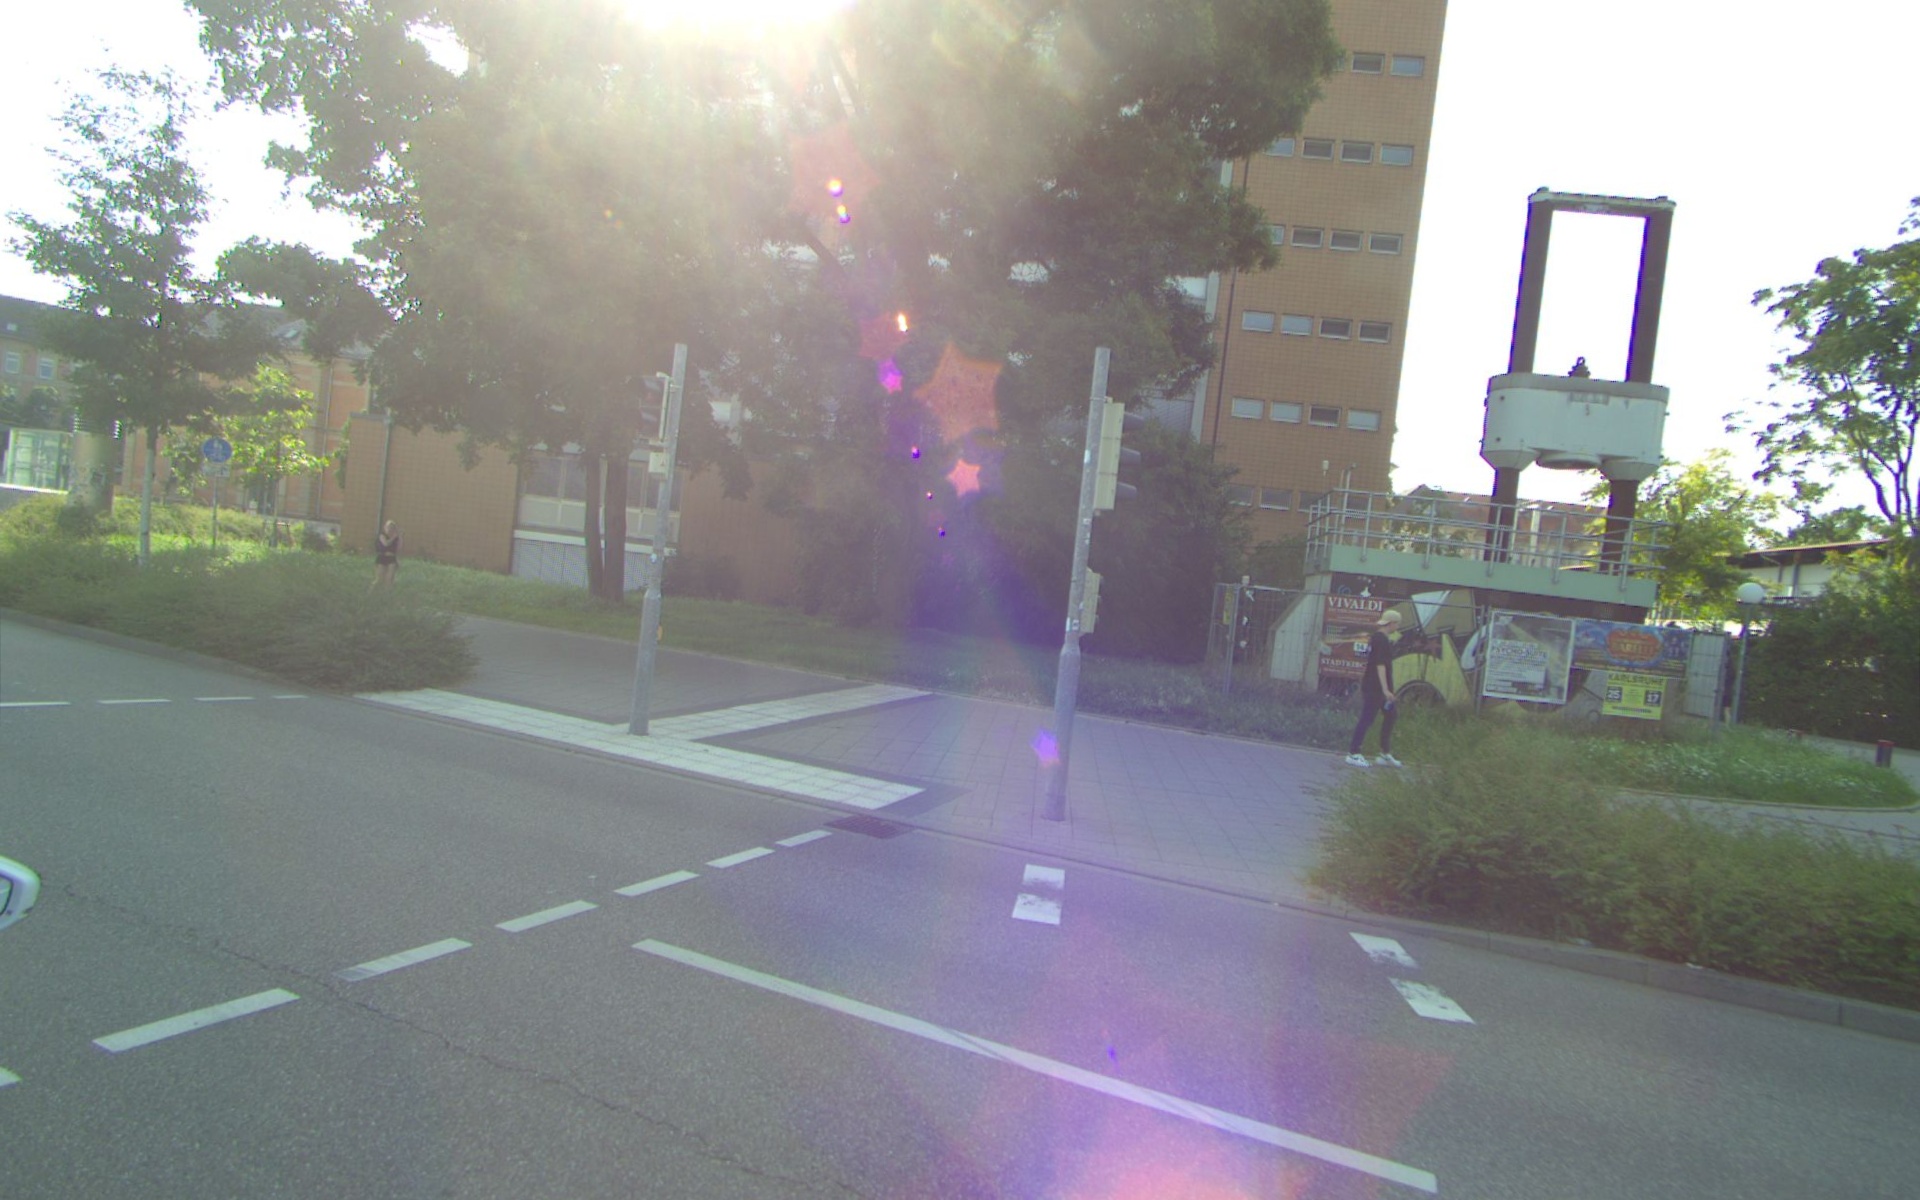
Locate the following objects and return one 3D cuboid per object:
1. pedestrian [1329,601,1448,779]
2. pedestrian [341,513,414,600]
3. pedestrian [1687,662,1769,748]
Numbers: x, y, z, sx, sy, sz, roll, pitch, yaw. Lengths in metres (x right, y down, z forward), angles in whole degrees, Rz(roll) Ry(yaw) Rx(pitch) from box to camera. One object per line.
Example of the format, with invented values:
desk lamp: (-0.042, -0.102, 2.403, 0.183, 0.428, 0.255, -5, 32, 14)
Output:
pedestrian: (4.797, 0.963, 11.347, 0.984, 1.807, 0.959, 7, 3, 20)
pedestrian: (-10.602, -0.781, 18.318, 0.843, 1.461, 0.725, 7, 1, 31)
pedestrian: (17.532, 2.372, 22.994, 0.942, 1.758, 1.002, 6, 3, 10)
